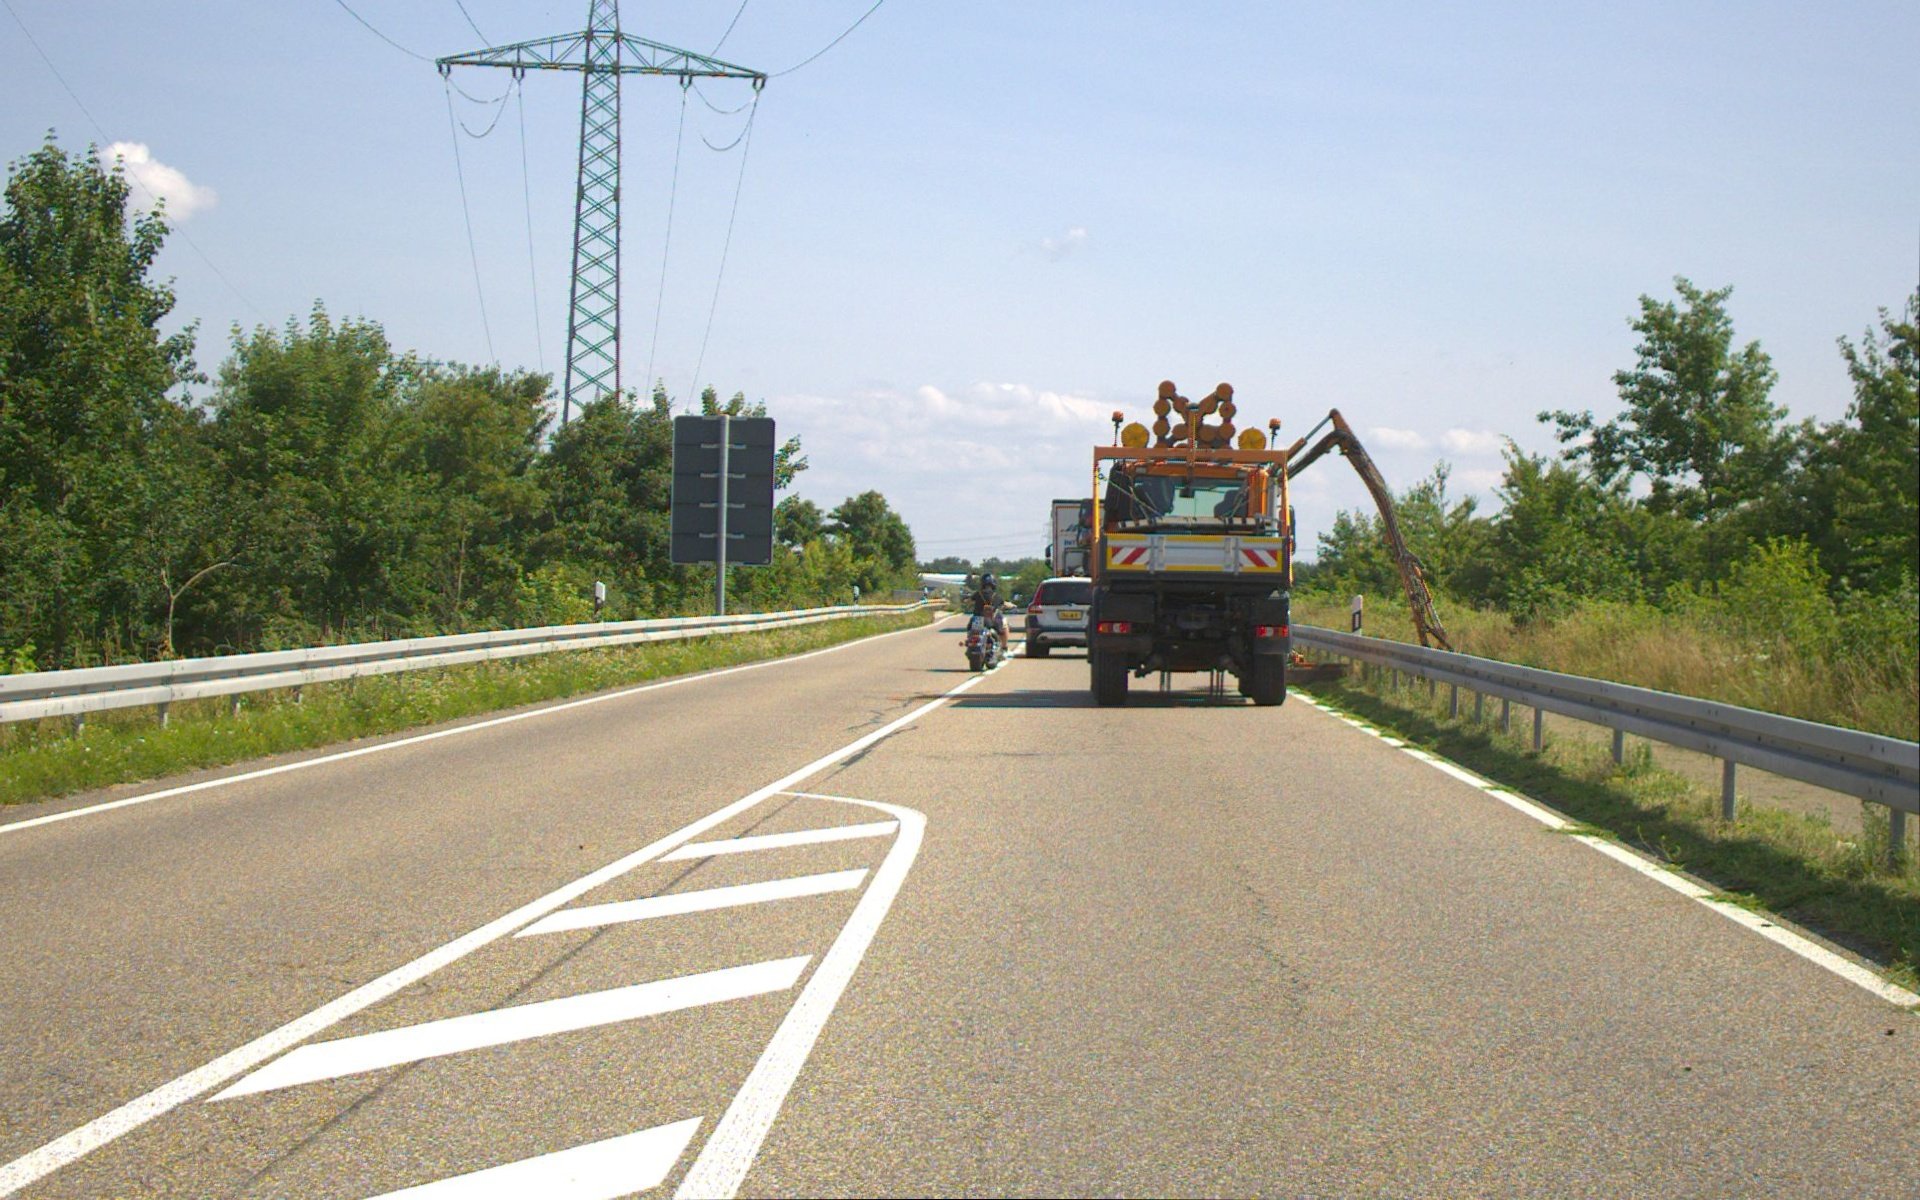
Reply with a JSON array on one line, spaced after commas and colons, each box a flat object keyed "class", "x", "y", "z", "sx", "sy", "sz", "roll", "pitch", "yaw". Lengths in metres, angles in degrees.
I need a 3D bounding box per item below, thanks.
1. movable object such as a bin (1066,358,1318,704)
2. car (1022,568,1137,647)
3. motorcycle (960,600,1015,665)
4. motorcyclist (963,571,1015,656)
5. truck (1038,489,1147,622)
[{"class": "movable object such as a bin", "x": 2.834, "y": -0.831, "z": 43.060, "sx": 2.753, "sy": 3.826, "sz": 9.444, "roll": 1, "pitch": 1, "yaw": 3}, {"class": "car", "x": 2.356, "y": 0.120, "z": 66.850, "sx": 1.826, "sy": 1.446, "sz": 3.999, "roll": 1, "pitch": 1, "yaw": 8}, {"class": "motorcycle", "x": 0.446, "y": 0.499, "z": 54.398, "sx": 0.780, "sy": 0.972, "sz": 2.361, "roll": 1, "pitch": 1, "yaw": 3}, {"class": "motorcyclist", "x": 0.461, "y": 0.208, "z": 54.415, "sx": 0.780, "sy": 1.321, "sz": 0.813, "roll": 1, "pitch": 1, "yaw": 3}, {"class": "truck", "x": 4.211, "y": -1.349, "z": 108.565, "sx": 3.242, "sy": 3.965, "sz": 9.443, "roll": 1, "pitch": 0, "yaw": 3}]
